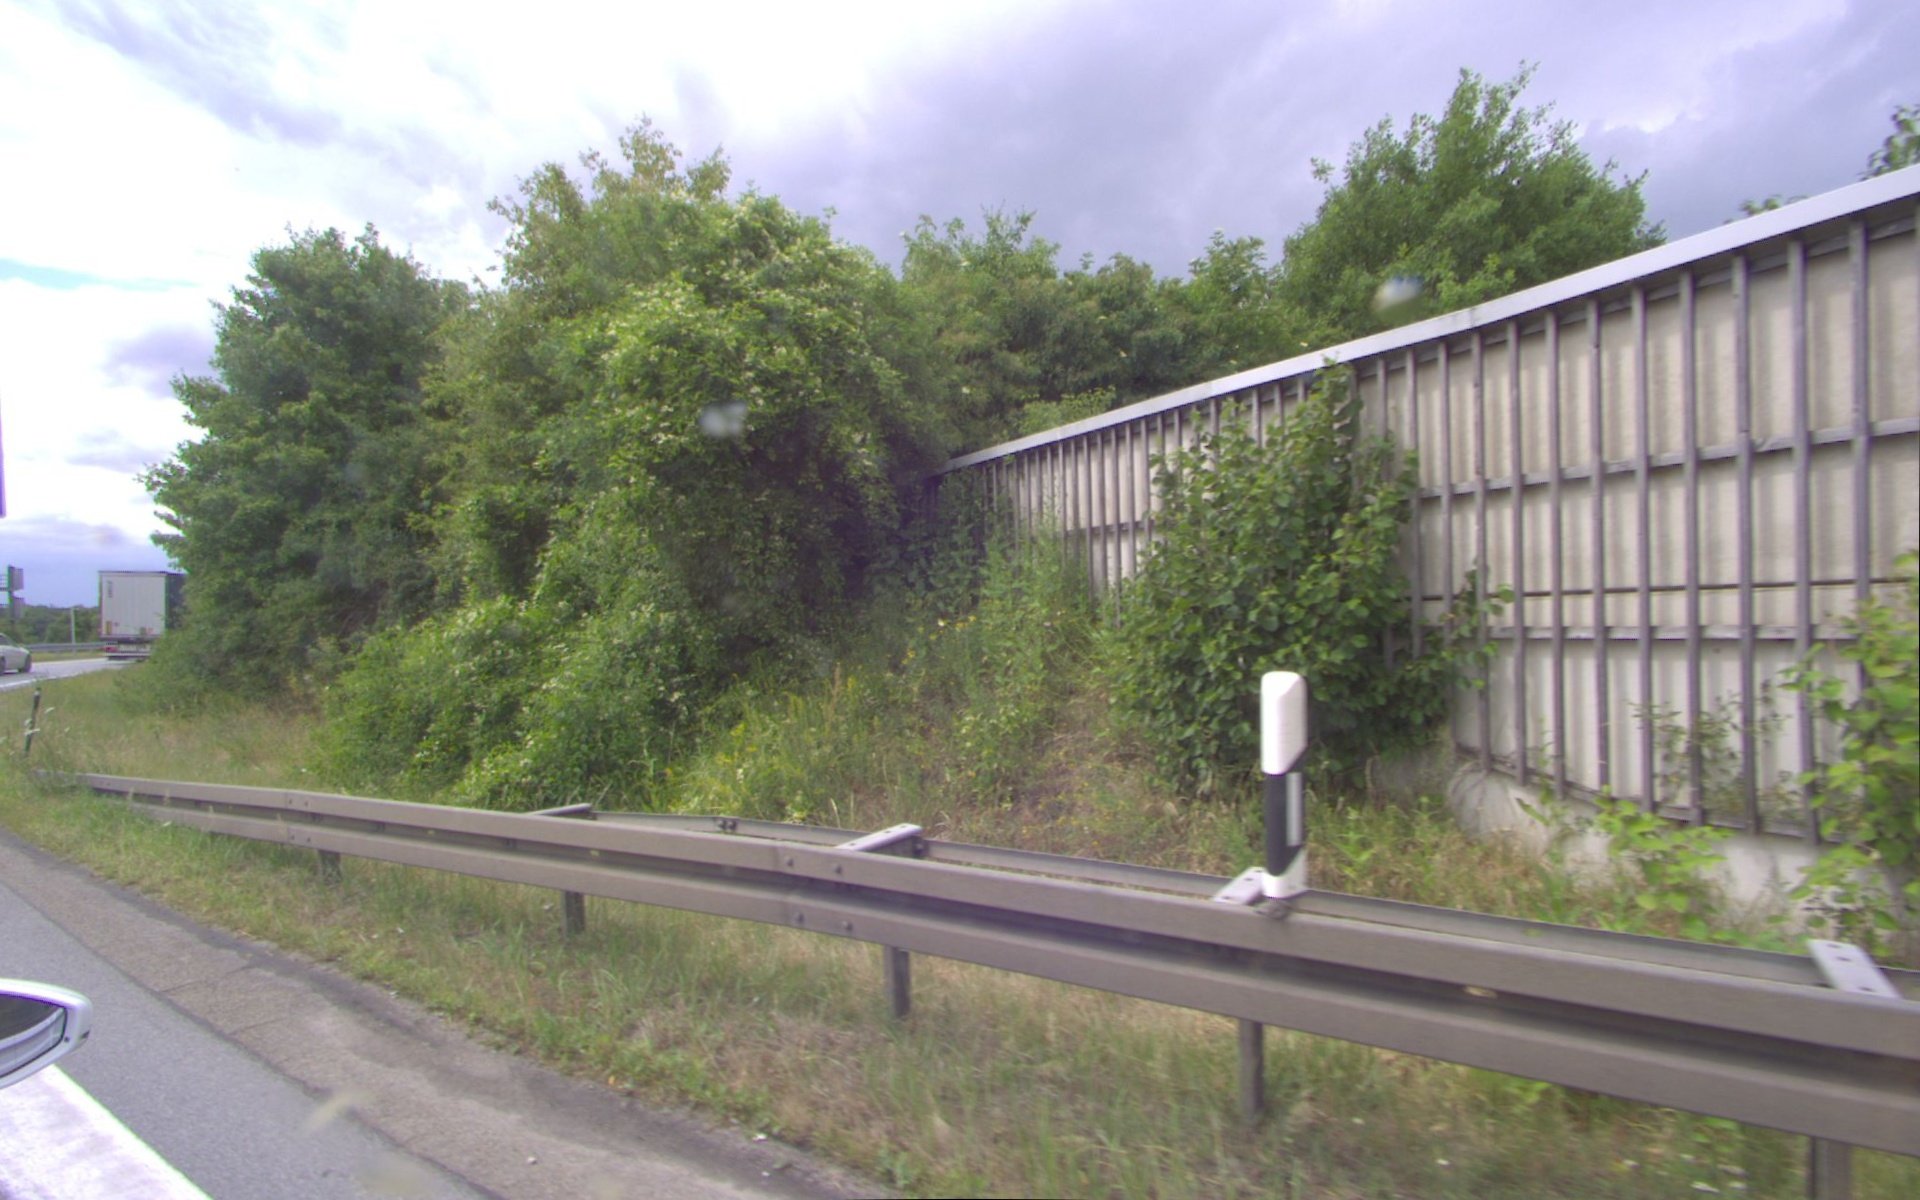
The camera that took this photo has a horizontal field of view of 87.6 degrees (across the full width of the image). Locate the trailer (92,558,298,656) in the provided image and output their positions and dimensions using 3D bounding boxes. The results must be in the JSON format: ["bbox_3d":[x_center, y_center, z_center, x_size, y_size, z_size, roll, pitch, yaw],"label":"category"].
[{"bbox_3d":[-37.789,0.474,50.396,3.280,4.247,13.019,0,-1,-14],"label":"trailer"}]

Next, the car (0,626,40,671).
[{"bbox_3d":[-34.449,1.690,35.169,2.182,1.521,4.761,0,-1,-31],"label":"car"}]
